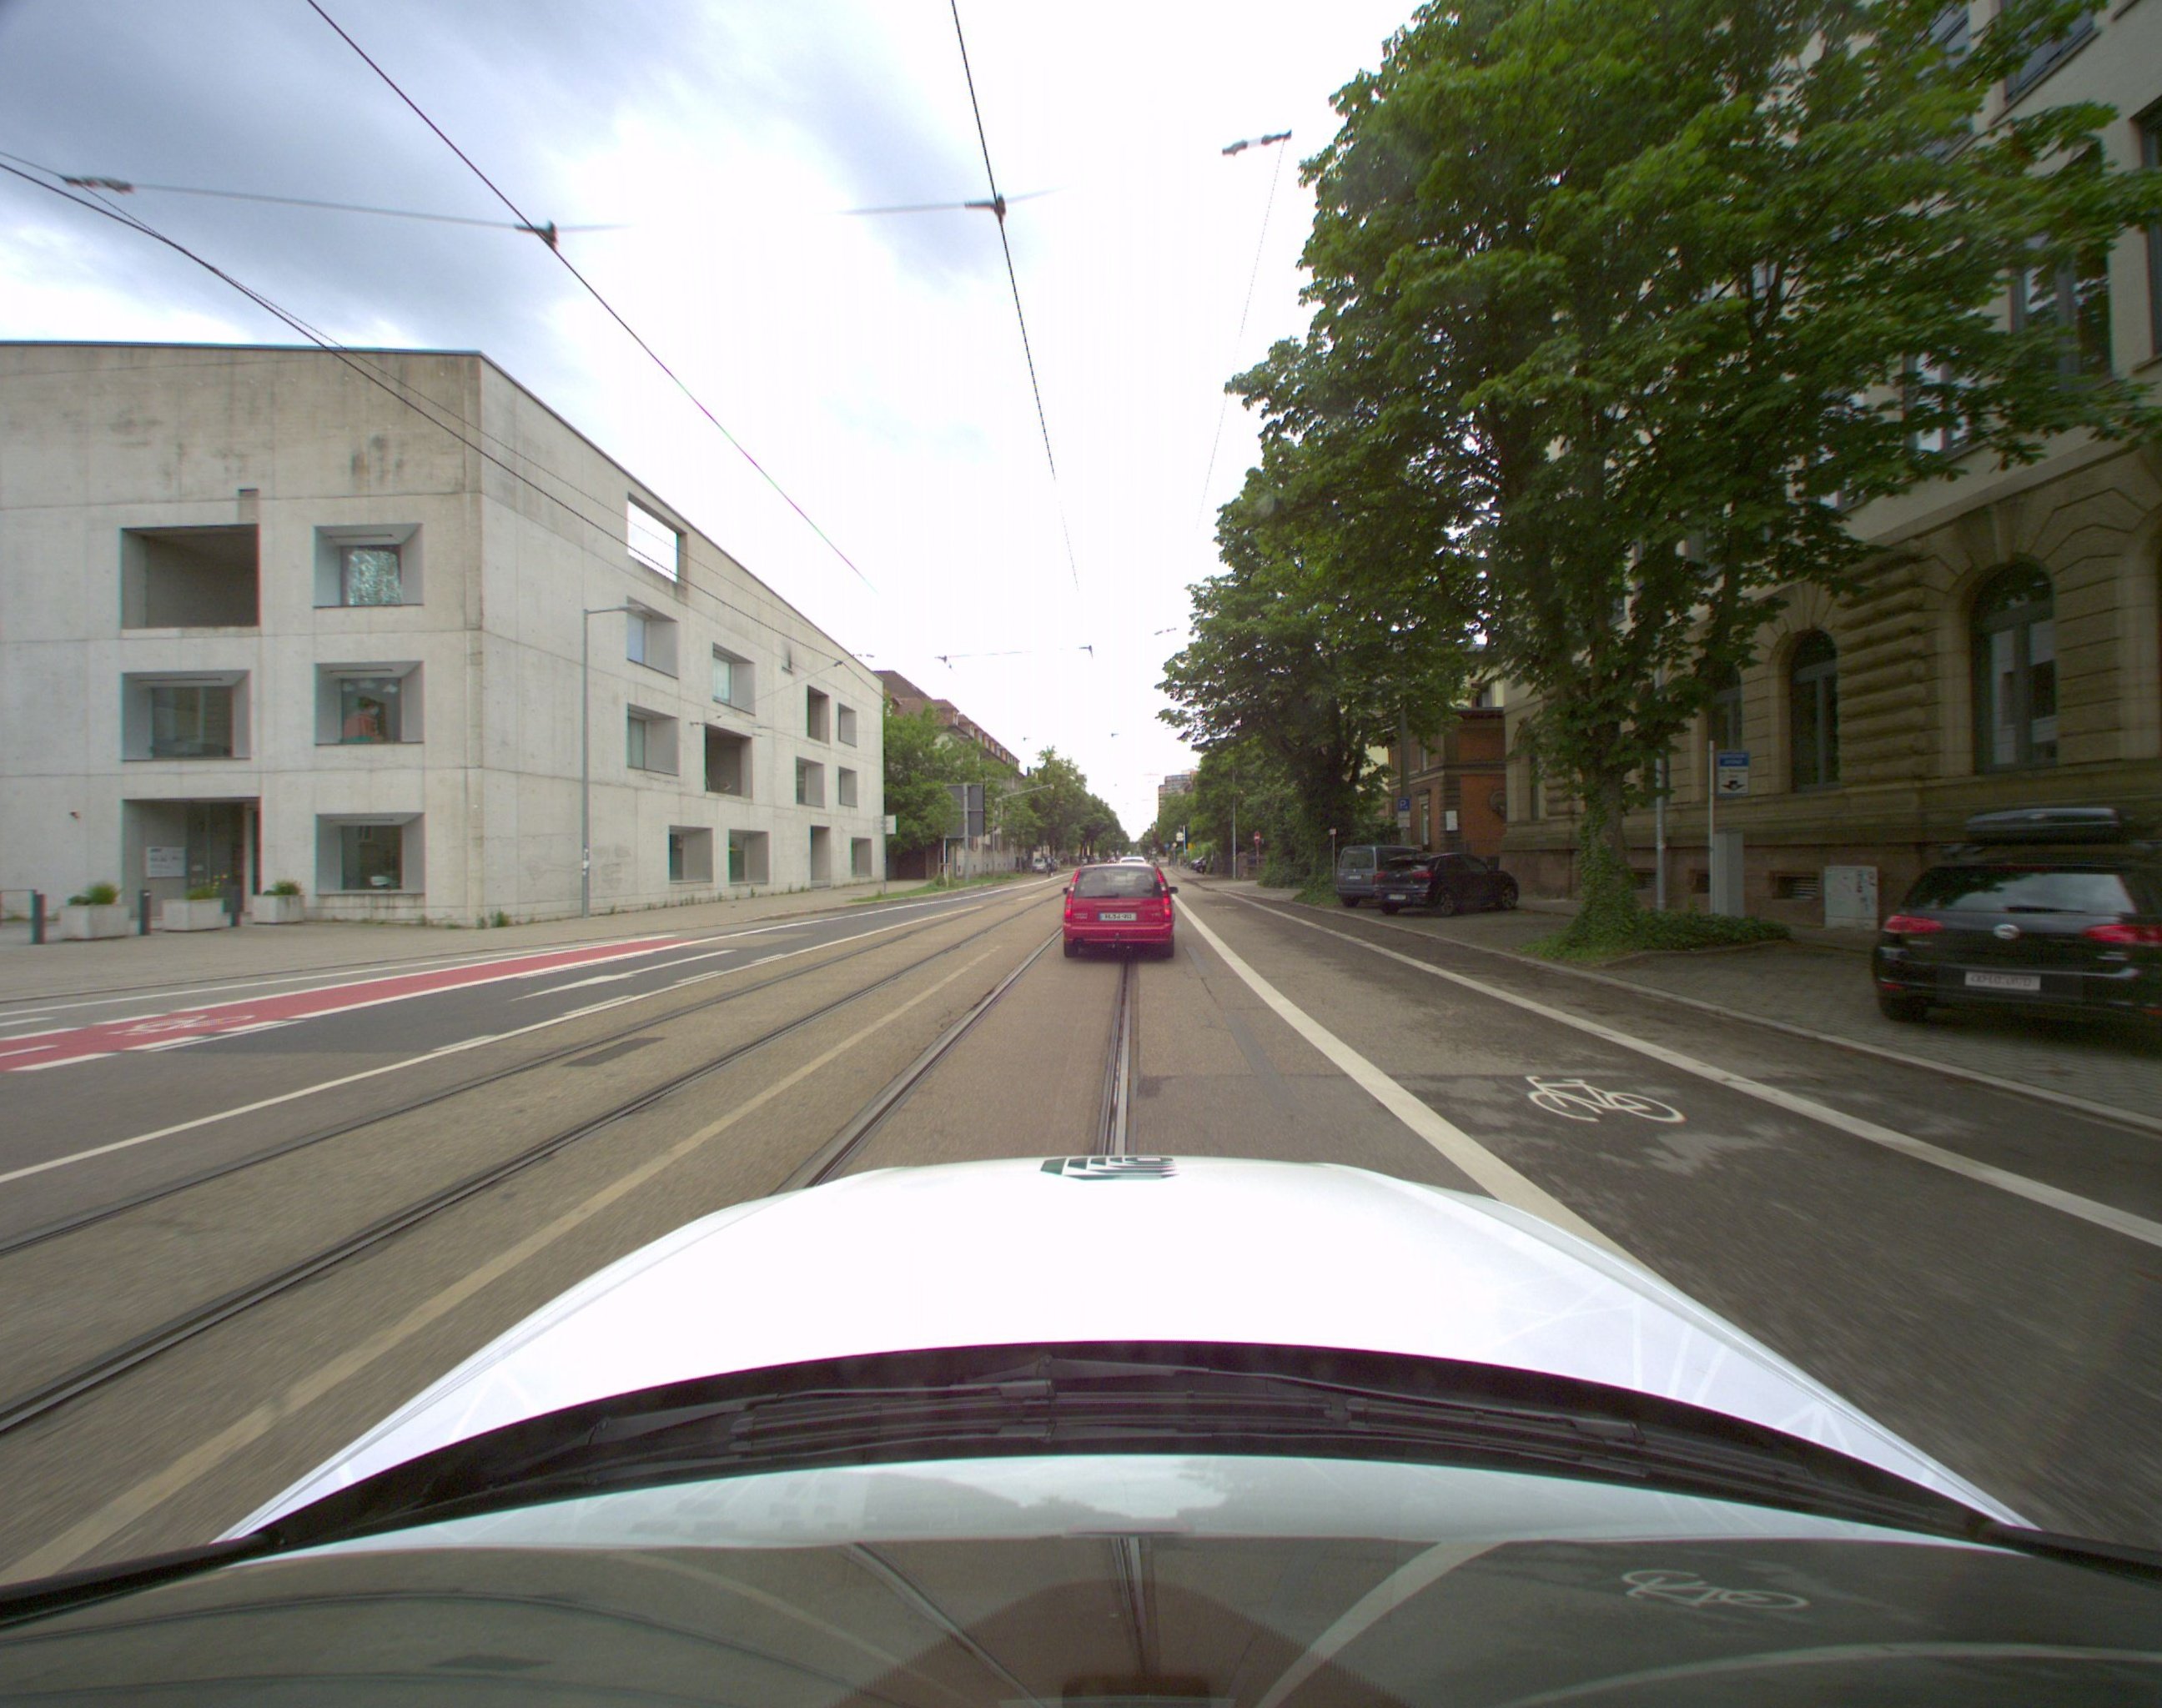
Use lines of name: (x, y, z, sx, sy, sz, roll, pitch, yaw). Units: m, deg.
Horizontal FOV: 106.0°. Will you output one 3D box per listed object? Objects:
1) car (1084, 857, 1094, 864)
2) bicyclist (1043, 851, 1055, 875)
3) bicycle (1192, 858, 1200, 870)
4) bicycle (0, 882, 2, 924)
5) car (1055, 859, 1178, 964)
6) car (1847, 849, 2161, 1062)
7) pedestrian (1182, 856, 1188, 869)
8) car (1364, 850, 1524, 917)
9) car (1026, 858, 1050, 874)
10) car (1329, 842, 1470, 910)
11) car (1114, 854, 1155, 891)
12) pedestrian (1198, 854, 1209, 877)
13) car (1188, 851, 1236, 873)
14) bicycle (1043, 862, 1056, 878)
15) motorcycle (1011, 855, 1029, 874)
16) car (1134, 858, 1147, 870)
car: (1.614, 1.284, 163.671, 1.769, 1.511, 4.243, 0, 0, 5)
bicyclist: (-2.449, 0.674, 62.872, 0.788, 1.783, 1.149, -1, 0, 4)
bicycle: (11.688, 0.990, 82.643, 0.630, 1.128, 1.814, -3, 0, 3)
bicycle: (-26.609, 1.194, 18.756, 0.658, 1.019, 2.093, -1, 0, 4)
car: (0.640, 0.813, 13.192, 1.681, 1.441, 3.747, -1, 0, 4)
car: (8.775, 0.677, 7.189, 4.344, 1.402, 1.738, -1, 0, -30)
pedestrian: (13.387, 1.126, 104.890, 0.789, 1.636, 0.837, 0, 0, 4)
car: (9.435, 0.702, 21.108, 4.014, 1.539, 1.846, -1, 0, -32)
car: (-4.139, 1.108, 78.170, 1.804, 1.466, 4.617, 0, 0, 3)
car: (9.439, 0.604, 24.080, 3.849, 1.821, 1.791, -1, 0, -28)
car: (2.529, 0.838, 37.680, 1.710, 1.625, 3.947, 0, -1, 6)
pedestrian: (9.449, 0.873, 62.845, 0.621, 1.671, 0.960, -3, -1, 3)
car: (12.244, 0.746, 76.107, 4.260, 1.809, 1.826, -2, 0, 5)
bicycle: (-2.440, 1.224, 62.752, 0.788, 1.186, 2.013, 0, 0, 4)
motorcycle: (-5.238, 0.886, 69.855, 0.827, 1.643, 2.488, -1, 0, 12)
car: (8.545, 1.448, 116.720, 1.735, 1.606, 4.001, 0, -1, 2)
